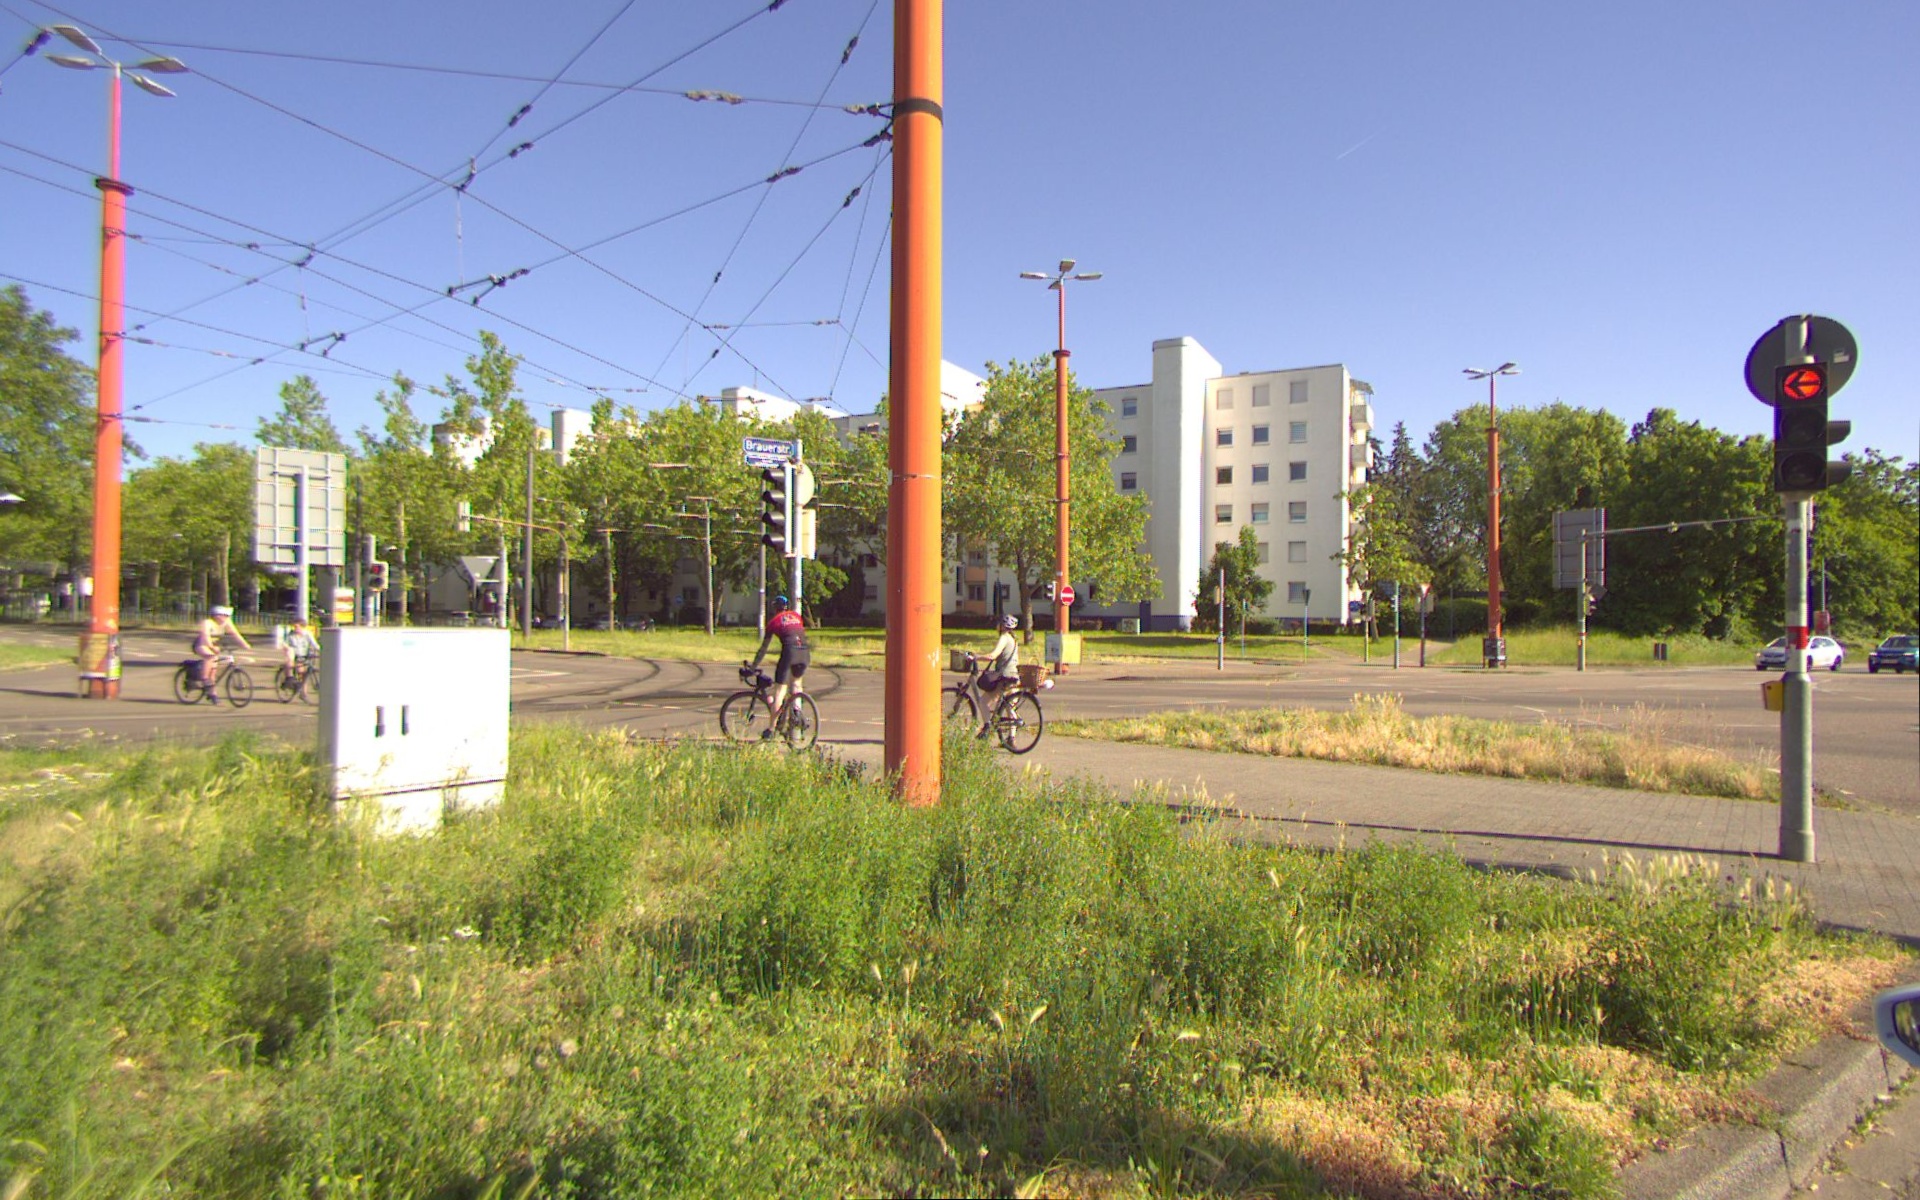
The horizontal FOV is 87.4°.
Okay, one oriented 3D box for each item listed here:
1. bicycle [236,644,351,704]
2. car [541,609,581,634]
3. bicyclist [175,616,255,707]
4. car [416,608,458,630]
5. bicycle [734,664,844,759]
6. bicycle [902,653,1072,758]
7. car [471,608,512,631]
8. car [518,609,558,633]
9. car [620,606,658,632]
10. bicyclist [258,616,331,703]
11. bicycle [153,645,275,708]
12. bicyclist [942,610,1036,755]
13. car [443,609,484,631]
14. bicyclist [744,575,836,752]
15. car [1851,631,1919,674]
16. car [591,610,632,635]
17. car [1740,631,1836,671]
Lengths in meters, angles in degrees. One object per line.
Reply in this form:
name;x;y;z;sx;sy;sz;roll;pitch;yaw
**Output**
bicycle;-13.250;1.446;19.981;1.849;1.102;0.928;0;-1;18
car;-31.194;1.682;78.678;1.963;1.840;3.995;1;-1;-8
bicyclist;-14.001;1.137;18.897;0.726;1.659;0.934;0;-1;18
car;-46.025;1.684;88.475;1.963;1.840;3.995;1;-1;-8
bicycle;-2.114;1.310;12.237;0.915;0.976;1.747;1;-1;-24
bicycle;0.316;1.228;12.122;1.855;1.102;0.925;0;-1;34
car;-39.286;1.649;84.325;1.963;1.840;3.995;1;-1;-8
car;-33.810;1.678;80.528;1.963;1.840;3.995;1;-1;-8
car;-23.405;1.405;73.417;1.963;1.840;3.995;1;-1;-8
bicyclist;-13.211;1.165;19.969;0.726;1.659;0.934;0;-1;18
bicycle;-14.027;1.415;18.896;1.849;1.102;0.928;0;-1;18
bicyclist;0.360;0.959;12.098;0.728;1.659;0.931;0;-1;35
car;-42.676;1.707;86.447;1.963;1.840;3.995;1;-1;-8
bicyclist;-2.064;0.750;12.140;0.921;2.040;0.736;1;-1;-25
car;37.268;2.038;39.868;4.079;1.594;1.981;2;-1;-35
car;-26.111;1.693;75.329;1.962;1.840;3.997;1;-1;-5
car;35.144;2.151;42.609;4.075;1.594;1.983;1;-1;-32
